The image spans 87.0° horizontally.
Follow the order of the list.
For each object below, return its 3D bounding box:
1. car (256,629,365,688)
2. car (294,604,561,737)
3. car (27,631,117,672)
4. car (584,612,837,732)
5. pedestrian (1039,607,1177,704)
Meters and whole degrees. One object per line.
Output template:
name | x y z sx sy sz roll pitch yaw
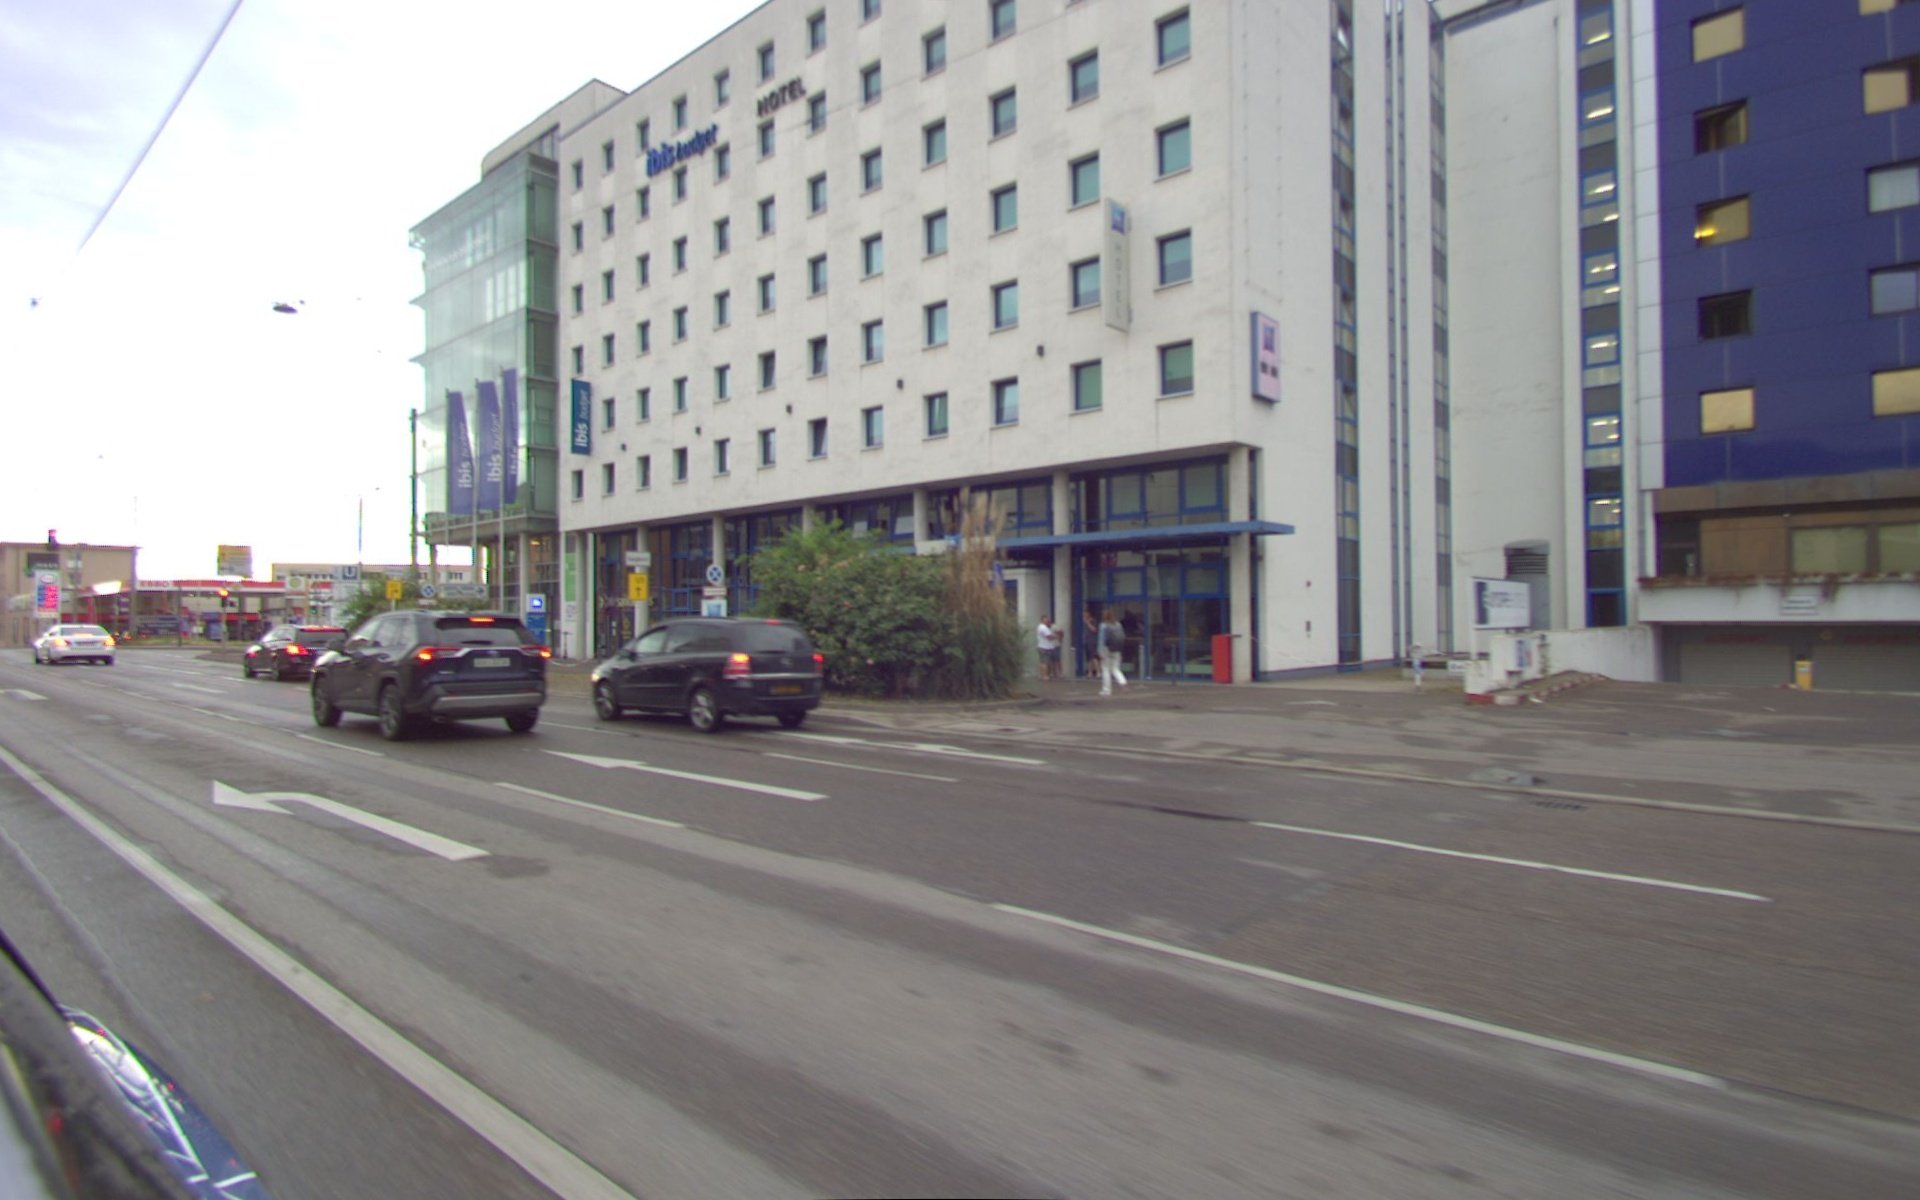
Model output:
car | -17.961 1.560 27.884 1.712 1.488 4.704 3 -3 -42
car | -7.498 0.979 14.068 4.447 1.568 1.738 -3 -5 41
car | -32.714 1.855 37.239 4.960 1.397 1.798 -1 -2 41
car | -3.832 1.051 15.231 4.032 1.578 1.690 -3 -5 41
pedestrian | 2.857 1.044 19.677 1.966 1.733 1.700 -1 -2 -30
